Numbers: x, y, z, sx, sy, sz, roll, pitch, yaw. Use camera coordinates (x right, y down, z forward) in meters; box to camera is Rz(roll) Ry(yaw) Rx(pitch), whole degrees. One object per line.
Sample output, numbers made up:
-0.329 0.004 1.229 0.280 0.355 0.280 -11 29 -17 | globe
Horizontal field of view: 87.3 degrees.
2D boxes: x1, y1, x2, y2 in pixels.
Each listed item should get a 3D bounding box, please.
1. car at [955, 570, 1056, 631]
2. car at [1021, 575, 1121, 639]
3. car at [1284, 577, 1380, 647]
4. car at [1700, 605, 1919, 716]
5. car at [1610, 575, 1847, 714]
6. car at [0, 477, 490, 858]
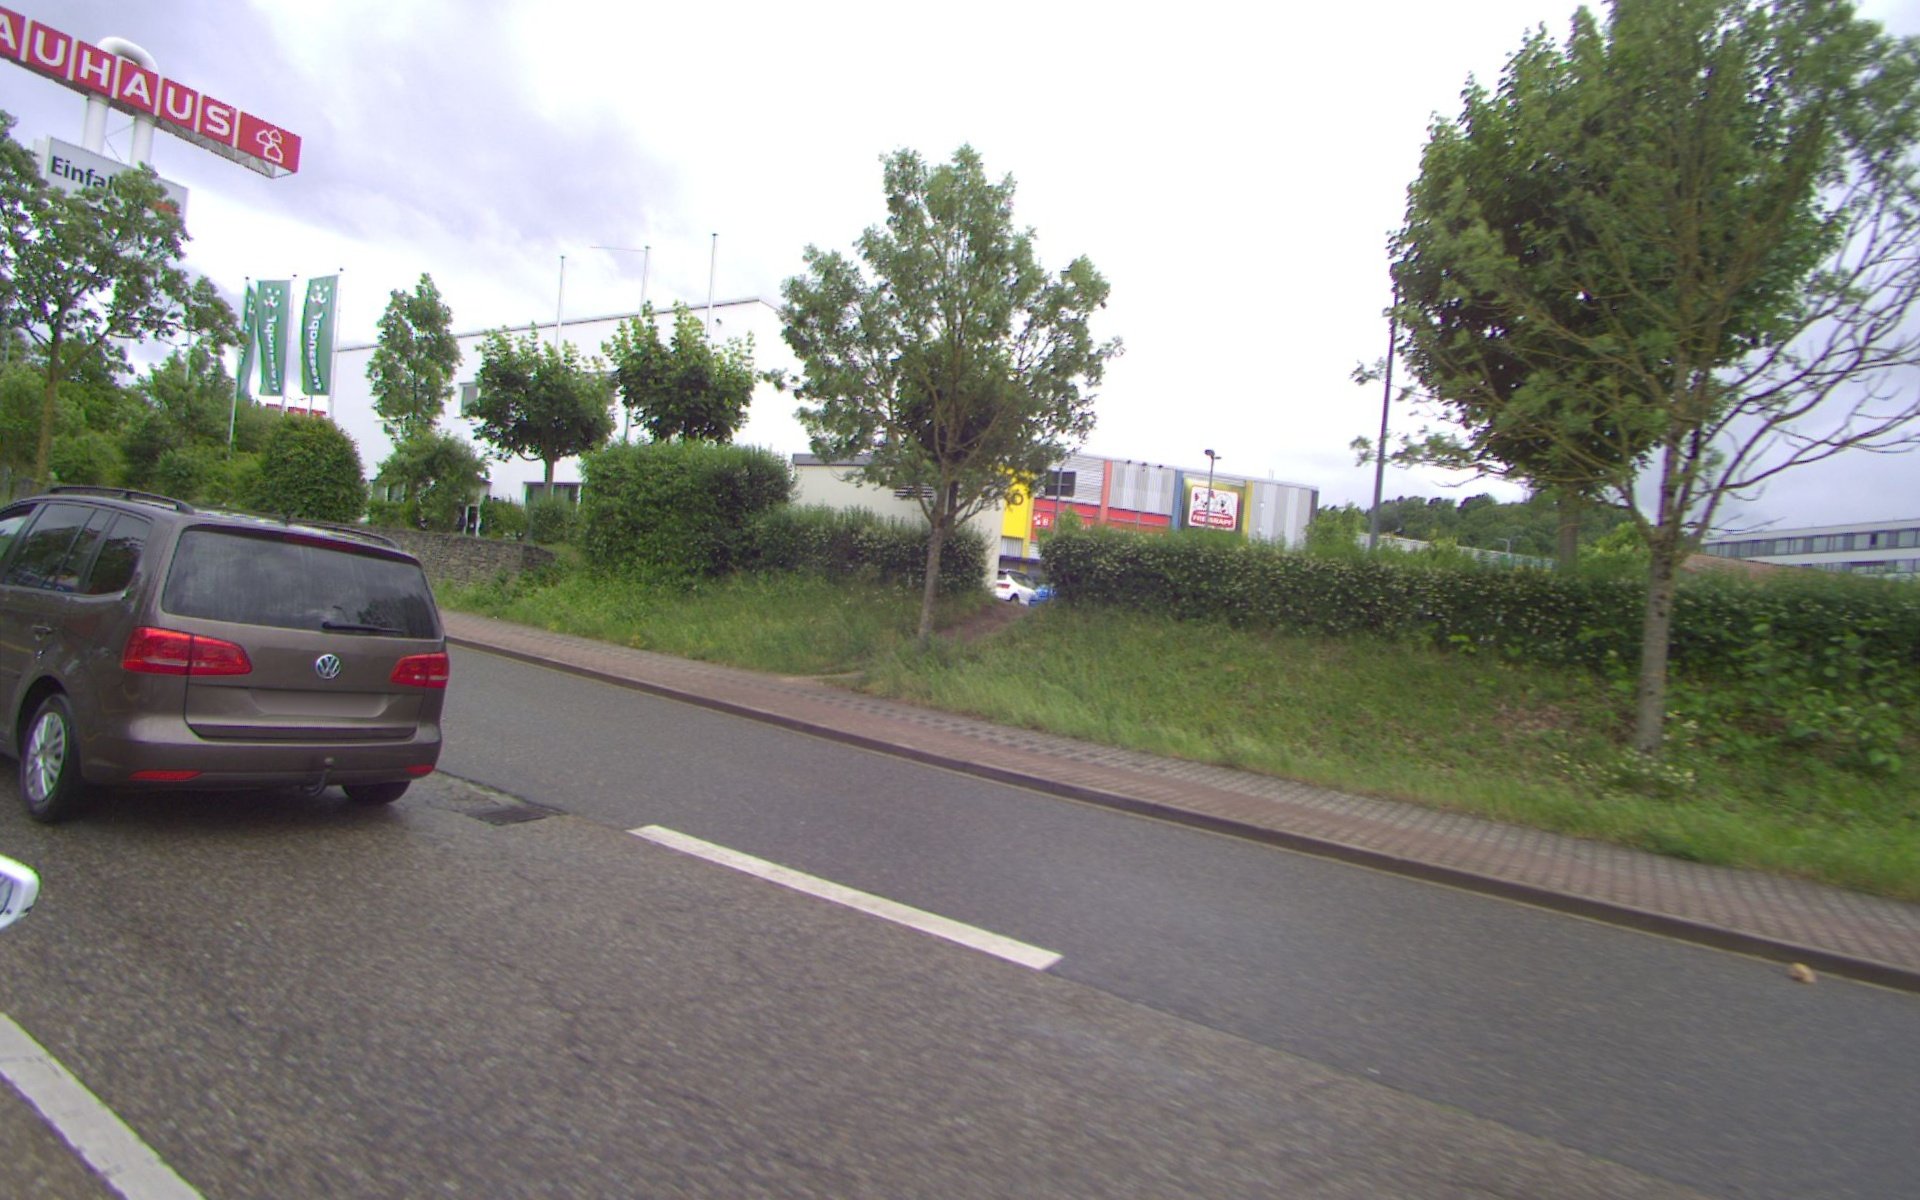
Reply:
1.638 0.058 34.672 1.767 1.683 3.995 7 0 28 | car
3.702 0.260 33.072 1.767 1.683 3.995 7 0 28 | car
10.679 0.354 28.695 1.920 1.702 4.155 6 1 27 | car
16.537 1.128 18.402 1.905 1.650 4.328 4 2 -29 | car
11.524 0.614 15.460 1.894 1.650 4.353 6 2 26 | car
-4.998 0.204 6.132 4.148 1.599 1.689 7 -2 31 | car
